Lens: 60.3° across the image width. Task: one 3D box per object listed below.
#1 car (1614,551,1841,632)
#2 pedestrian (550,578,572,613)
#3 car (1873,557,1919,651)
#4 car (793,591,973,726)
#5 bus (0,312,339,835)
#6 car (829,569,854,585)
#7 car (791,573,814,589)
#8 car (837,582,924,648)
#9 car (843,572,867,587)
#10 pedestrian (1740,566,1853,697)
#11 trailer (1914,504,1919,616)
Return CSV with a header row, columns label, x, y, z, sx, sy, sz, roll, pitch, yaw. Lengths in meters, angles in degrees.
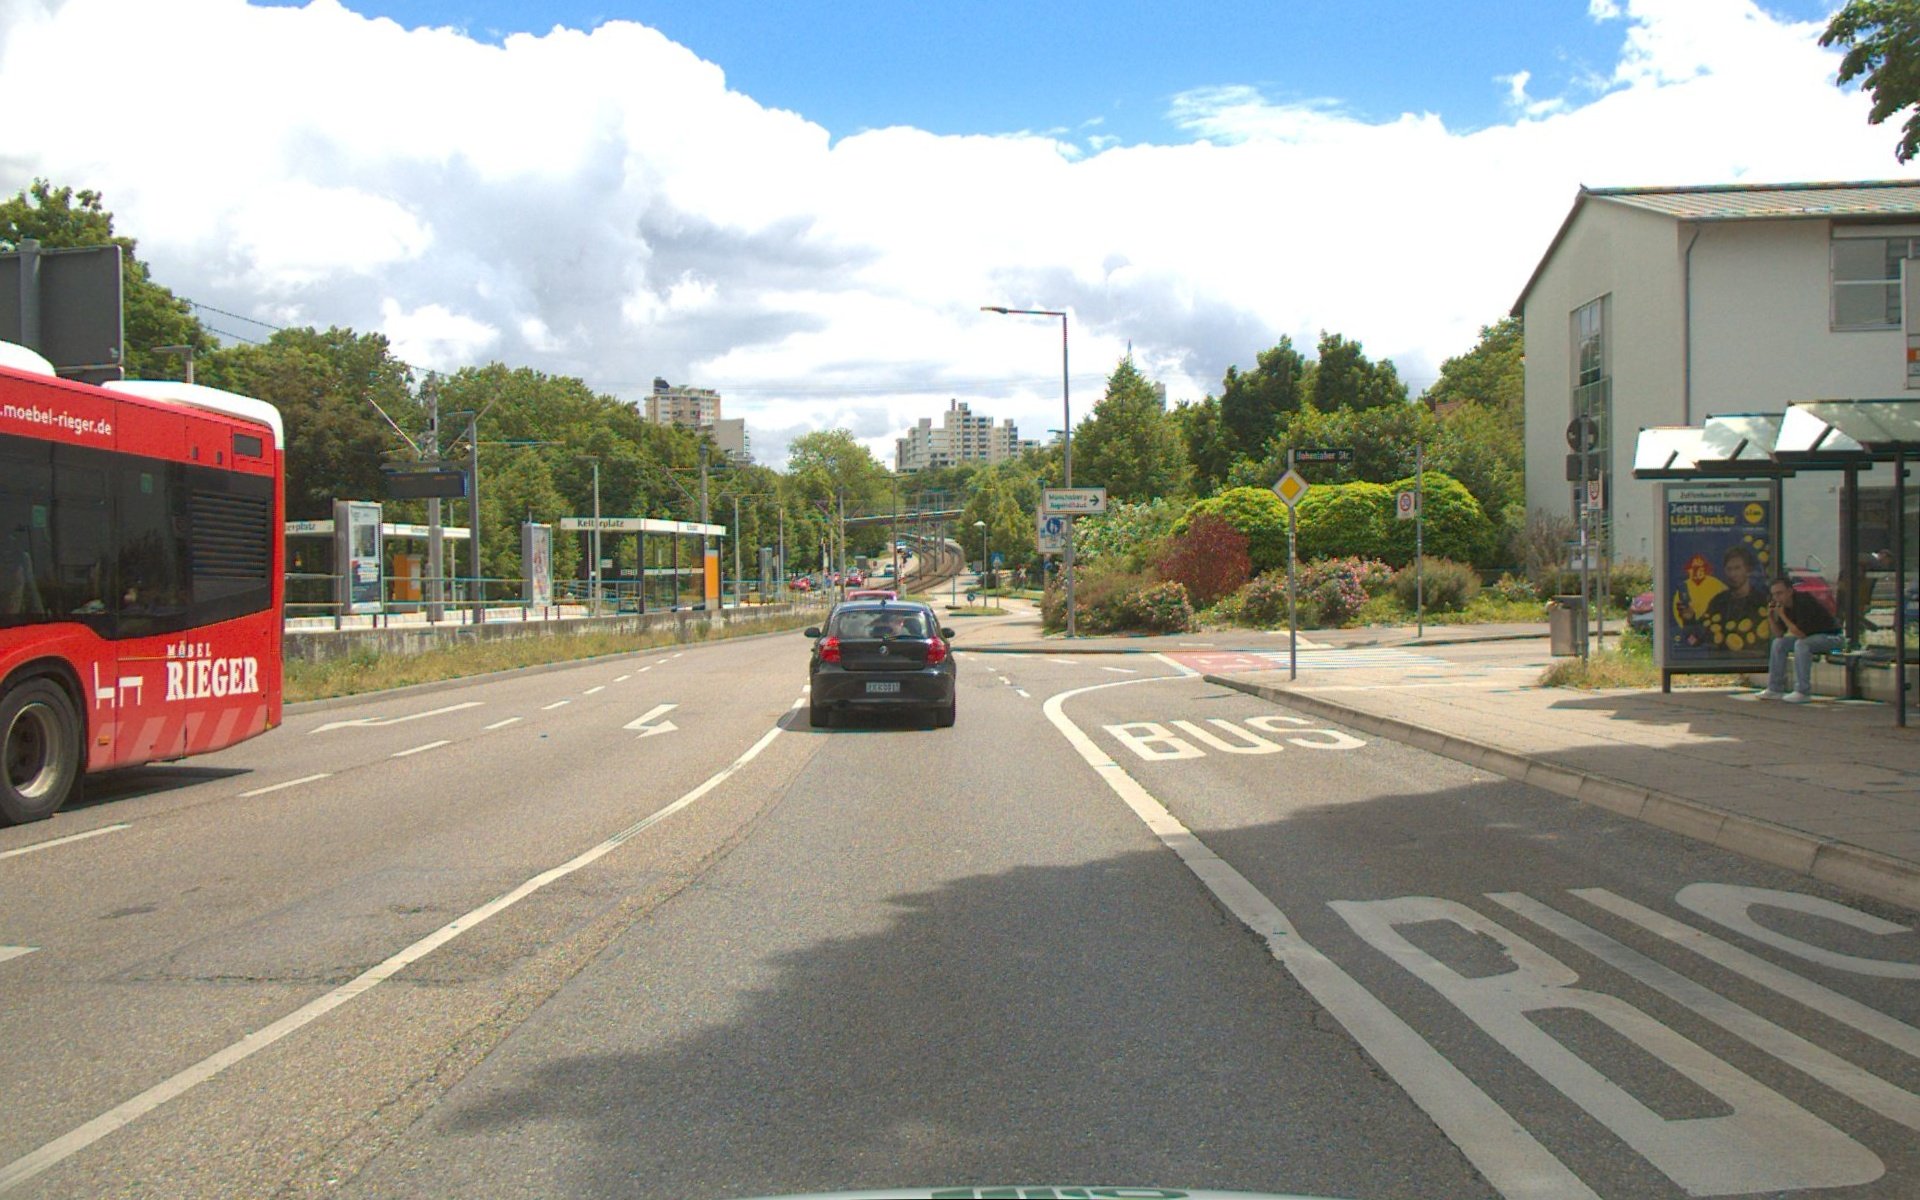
label,x,y,z,sx,sy,sz,roll,pitch,yaw
car,16.746,-0.207,36.236,4.072,1.588,2.000,-1,3,-2
pedestrian,-23.448,-0.275,97.233,0.941,2.048,0.822,0,2,22
car,17.426,-0.010,27.246,3.715,1.482,1.897,-3,2,1
car,-0.835,0.648,20.219,1.777,1.445,4.001,-2,0,3
bus,-7.062,-0.147,9.932,2.668,3.123,8.969,-1,1,4
car,-12.482,-2.395,174.304,1.872,1.588,4.003,-1,1,6
car,-14.599,-1.763,153.165,1.496,1.394,3.599,-1,1,4
car,-1.851,0.321,39.281,1.729,1.457,3.480,-2,0,2
car,-10.648,-2.088,167.738,1.683,1.529,2.970,0,1,13
pedestrian,8.444,0.307,16.721,0.809,1.281,0.686,-1,1,6
trailer,23.773,-0.898,36.270,4.442,2.530,2.222,-1,2,2
